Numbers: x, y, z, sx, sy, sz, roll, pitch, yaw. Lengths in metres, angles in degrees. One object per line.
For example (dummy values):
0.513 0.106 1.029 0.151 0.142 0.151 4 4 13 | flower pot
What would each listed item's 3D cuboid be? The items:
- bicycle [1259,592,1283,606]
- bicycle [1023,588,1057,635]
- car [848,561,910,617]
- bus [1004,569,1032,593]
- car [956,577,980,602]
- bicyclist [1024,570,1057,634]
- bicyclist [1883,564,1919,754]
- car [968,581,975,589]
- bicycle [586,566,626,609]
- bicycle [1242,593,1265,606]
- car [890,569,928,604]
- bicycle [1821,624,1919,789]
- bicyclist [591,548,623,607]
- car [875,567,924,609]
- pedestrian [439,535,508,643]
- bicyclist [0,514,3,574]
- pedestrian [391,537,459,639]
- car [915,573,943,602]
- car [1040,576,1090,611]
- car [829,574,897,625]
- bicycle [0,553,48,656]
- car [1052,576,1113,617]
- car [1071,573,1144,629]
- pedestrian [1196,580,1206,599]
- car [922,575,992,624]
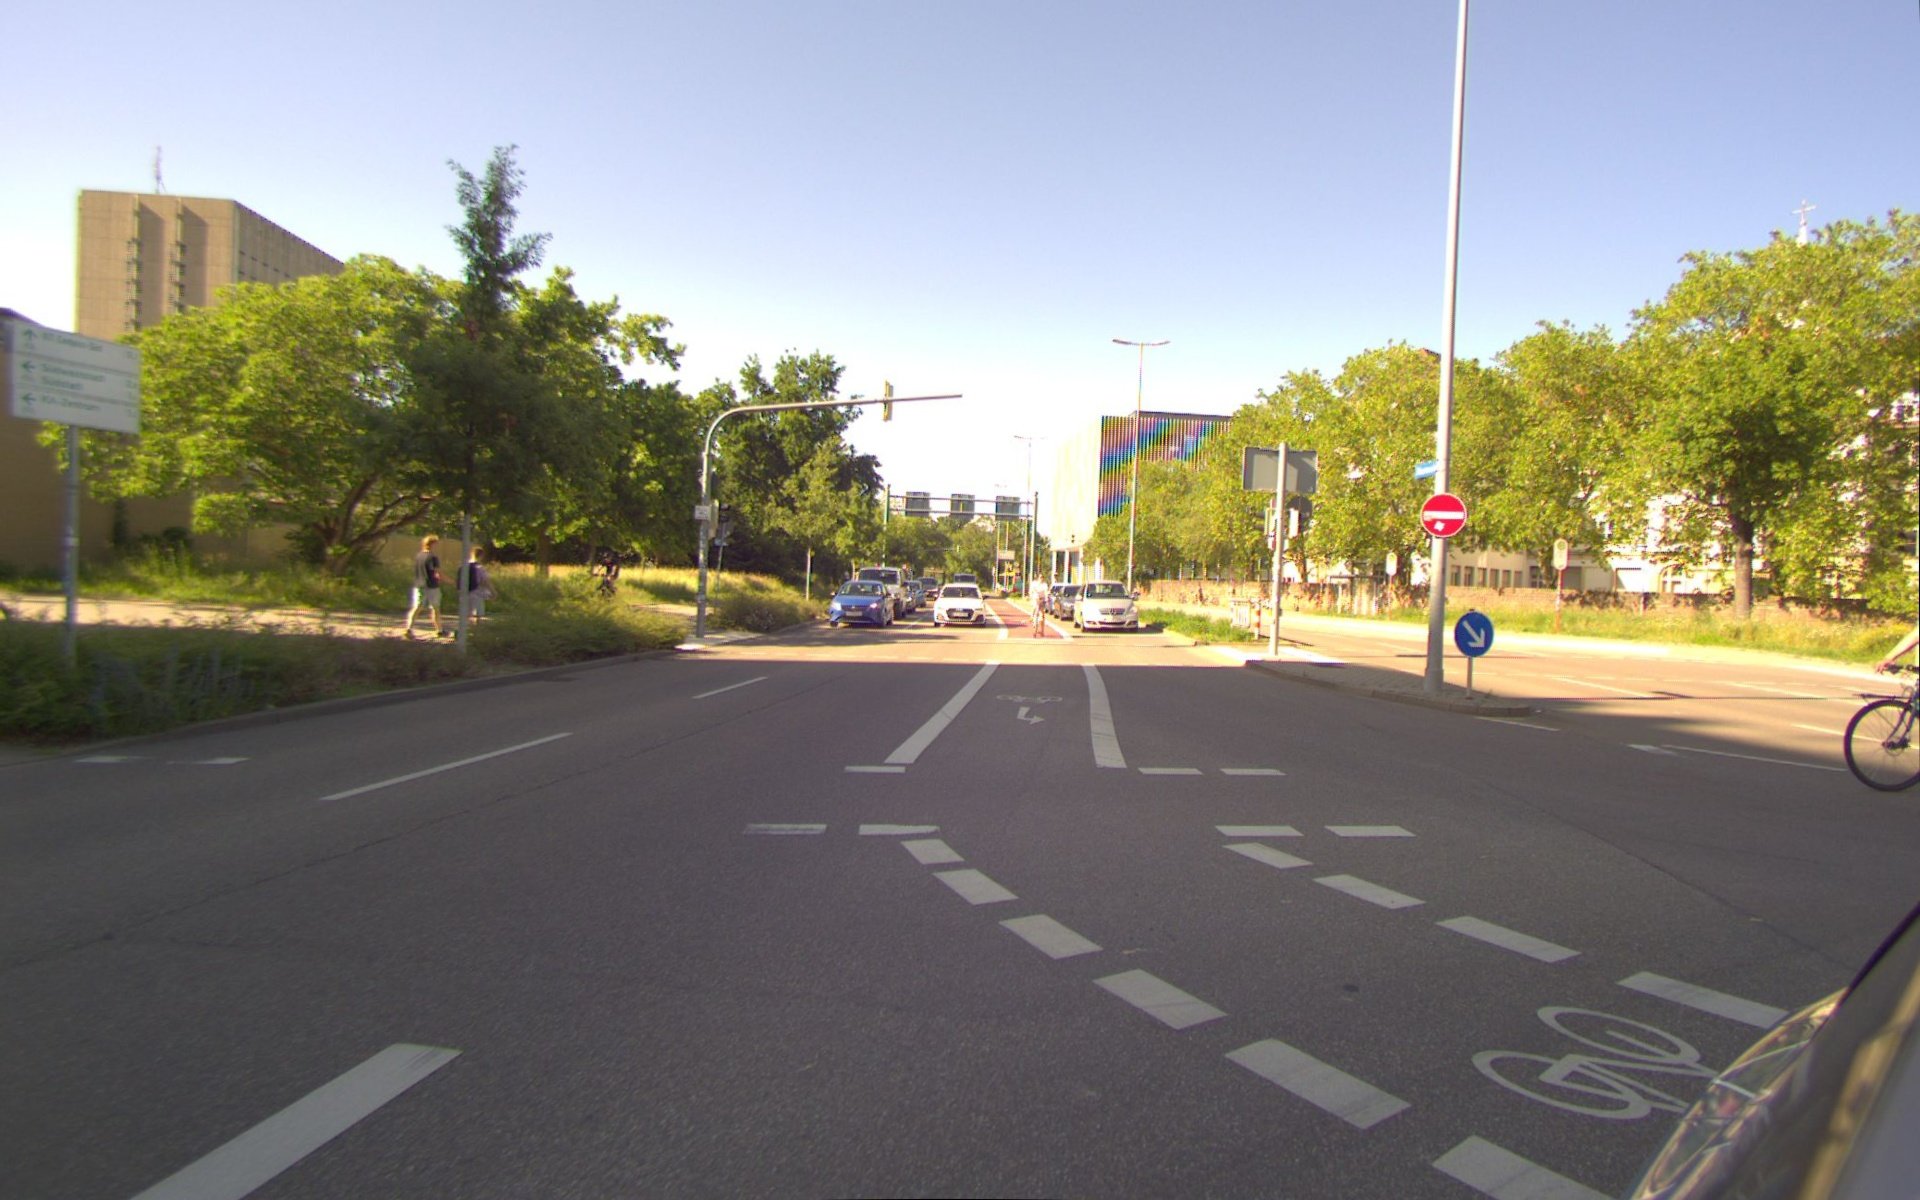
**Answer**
24.994 -0.050 81.450 0.779 1.090 2.090 3 -1 -18 | bicycle
2.223 0.305 28.245 0.734 1.179 1.871 2 2 -1 | bicycle
-3.029 -0.443 38.676 1.903 1.977 4.756 1 1 1 | car
8.691 -2.839 152.763 2.927 3.315 6.264 2 -1 -8 | bus
0.641 -0.850 82.243 1.902 1.977 4.532 1 1 0 | car
2.229 0.051 28.142 0.732 1.705 0.978 2 2 -1 | bicyclist
7.868 0.464 7.773 0.934 1.462 0.644 1 0 -3 | bicyclist
2.504 -3.316 221.169 1.661 1.612 3.599 1 1 0 | car
-10.331 -0.369 29.625 0.630 1.179 1.872 2 1 -5 | bicycle
24.233 -0.043 83.674 0.779 1.090 2.090 3 -1 -18 | bicycle
-2.812 -0.752 56.283 1.812 1.852 4.390 1 1 1 | car
7.797 0.800 7.771 1.833 1.180 0.643 1 0 -3 | bicycle
-10.308 -0.650 29.569 0.630 1.666 0.777 2 1 -5 | bicyclist
-2.736 -0.551 46.833 1.903 1.821 4.360 1 1 1 | car
-8.583 -0.184 17.873 0.721 1.839 0.732 2 -2 15 | pedestrian
-11.594 -0.290 11.510 0.634 1.462 0.773 4 1 15 | bicyclist
-9.682 -0.210 18.332 0.721 1.805 0.732 2 -2 15 | pedestrian
-2.278 -0.908 72.358 1.901 1.977 4.760 1 1 -2 | car
5.037 -0.326 49.137 1.947 1.573 4.723 1 1 1 | car
-2.986 -0.046 31.943 1.673 1.460 3.999 1 1 1 | car
-11.630 0.049 11.460 0.634 1.179 1.861 4 2 15 | bicycle
4.926 -0.176 41.347 1.947 1.573 4.723 1 1 1 | car
4.641 -0.009 32.387 1.756 1.645 4.315 1 1 1 | car
21.252 -0.963 89.121 0.640 1.632 0.559 2 -2 -4 | pedestrian
-0.041 -0.052 34.363 1.965 1.487 3.995 2 1 6 | car
